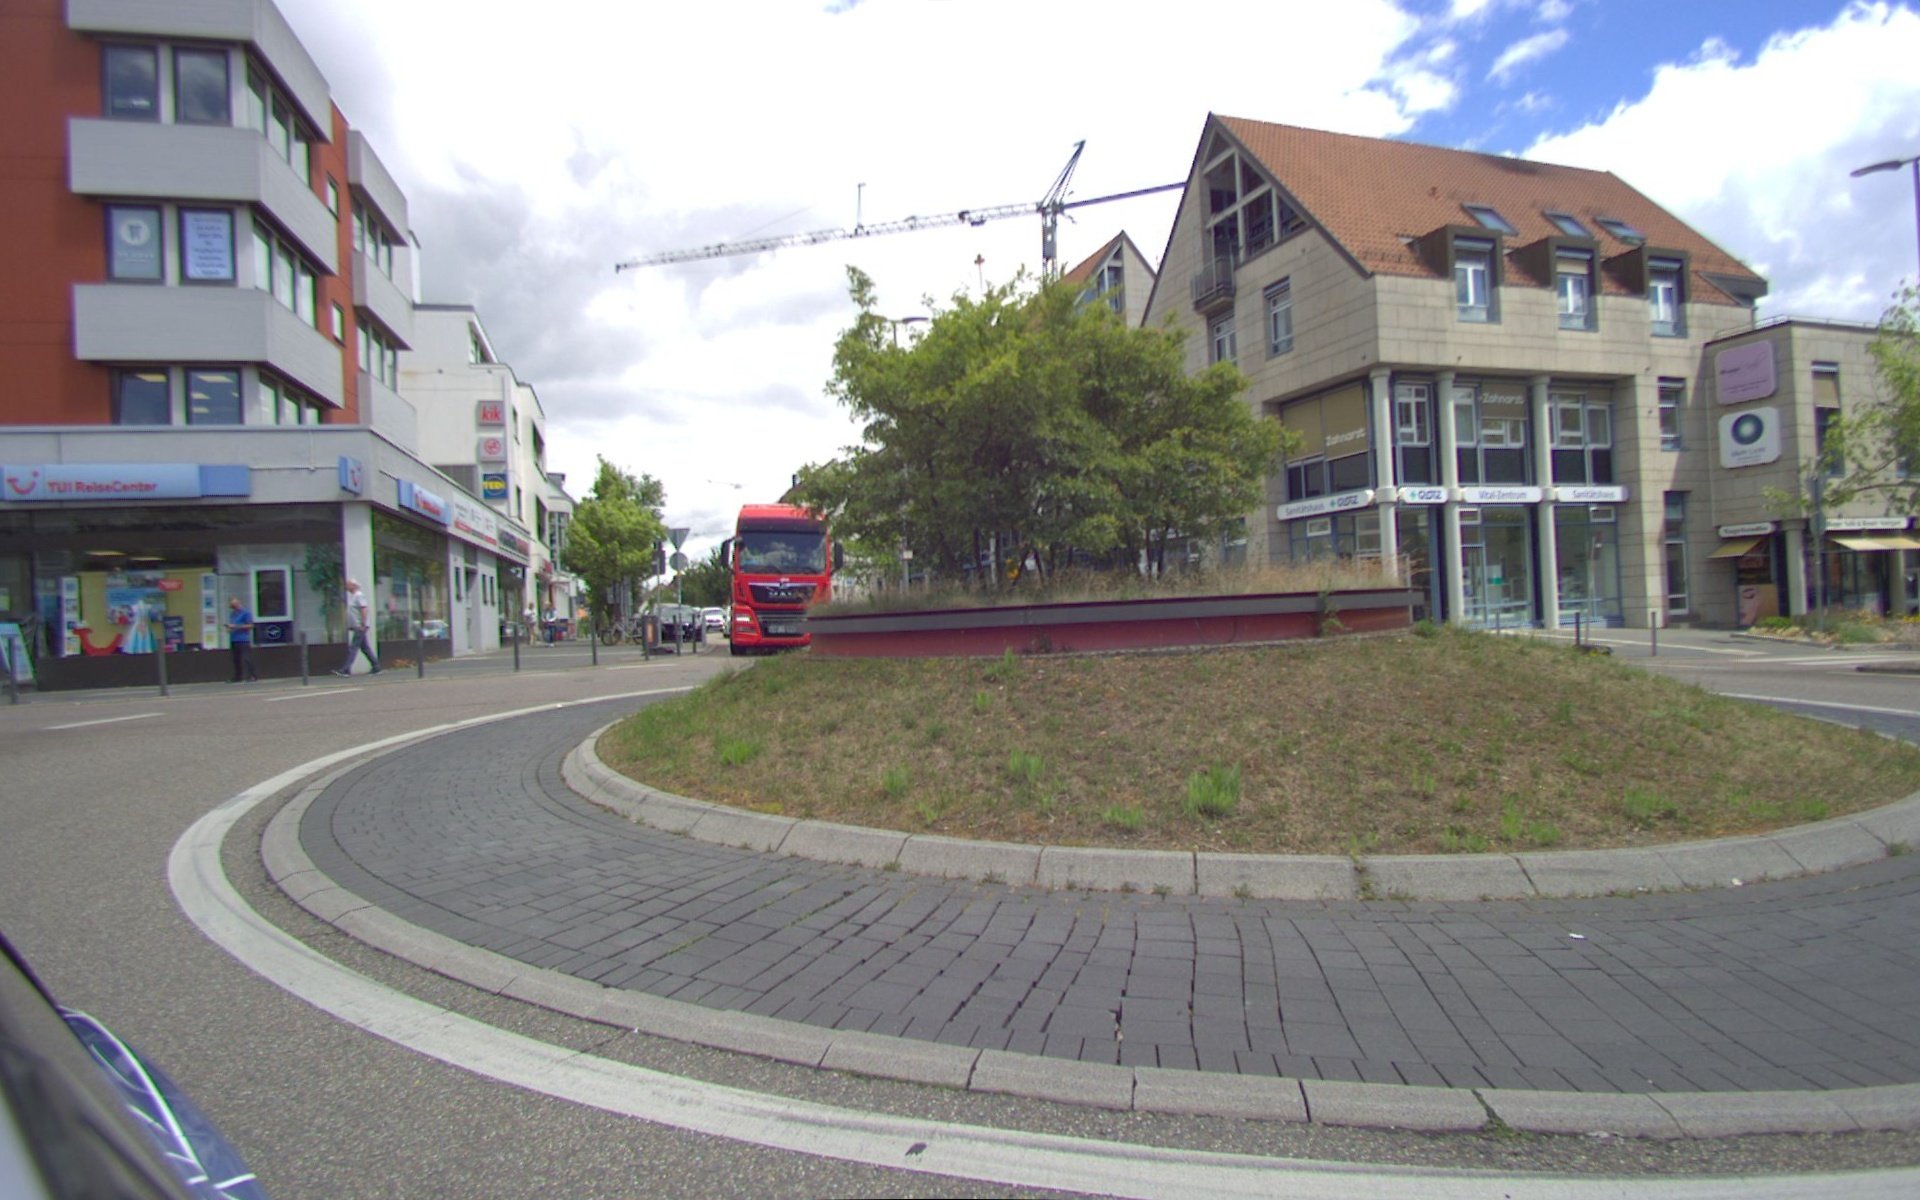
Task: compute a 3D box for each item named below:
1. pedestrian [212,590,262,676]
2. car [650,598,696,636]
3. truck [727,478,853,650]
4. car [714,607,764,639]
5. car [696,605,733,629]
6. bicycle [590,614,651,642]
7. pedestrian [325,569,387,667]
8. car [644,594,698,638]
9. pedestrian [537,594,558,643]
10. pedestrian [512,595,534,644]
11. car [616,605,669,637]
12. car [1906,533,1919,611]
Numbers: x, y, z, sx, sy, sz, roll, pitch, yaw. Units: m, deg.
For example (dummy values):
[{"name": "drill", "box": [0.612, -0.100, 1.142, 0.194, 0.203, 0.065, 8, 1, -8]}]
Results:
[{"name": "pedestrian", "box": [-13.952, 0.626, 19.530, 0.567, 1.616, 0.599, -2, 0, 35]}, {"name": "car", "box": [-12.733, 0.744, 45.108, 1.832, 1.593, 4.387, 0, 0, -14]}, {"name": "truck", "box": [-5.236, -0.833, 29.402, 2.918, 4.058, 10.622, -1, 0, -13]}, {"name": "car", "box": [-10.065, 0.994, 45.861, 1.653, 1.342, 3.869, -2, 0, -21]}, {"name": "car", "box": [-14.824, 1.018, 61.065, 1.653, 1.342, 3.869, -2, 0, -21]}, {"name": "bicycle", "box": [-11.932, 0.979, 35.592, 2.030, 0.953, 0.523, 0, -1, -19]}, {"name": "pedestrian", "box": [-11.888, 0.357, 19.920, 0.801, 1.889, 0.676, -2, 0, 24]}, {"name": "car", "box": [-11.155, 0.596, 39.232, 1.832, 1.593, 4.387, 0, 0, -14]}, {"name": "pedestrian", "box": [-15.092, 0.676, 37.059, 0.504, 1.769, 0.537, -2, 0, 4]}, {"name": "pedestrian", "box": [-15.878, 0.705, 36.761, 0.669, 1.769, 0.512, -1, 0, -20]}, {"name": "car", "box": [-16.430, 1.052, 52.196, 1.832, 1.578, 4.389, 0, 0, -28]}, {"name": "car", "box": [35.067, -0.876, 32.811, 6.302, 2.579, 2.176, 1, -1, 41]}]
